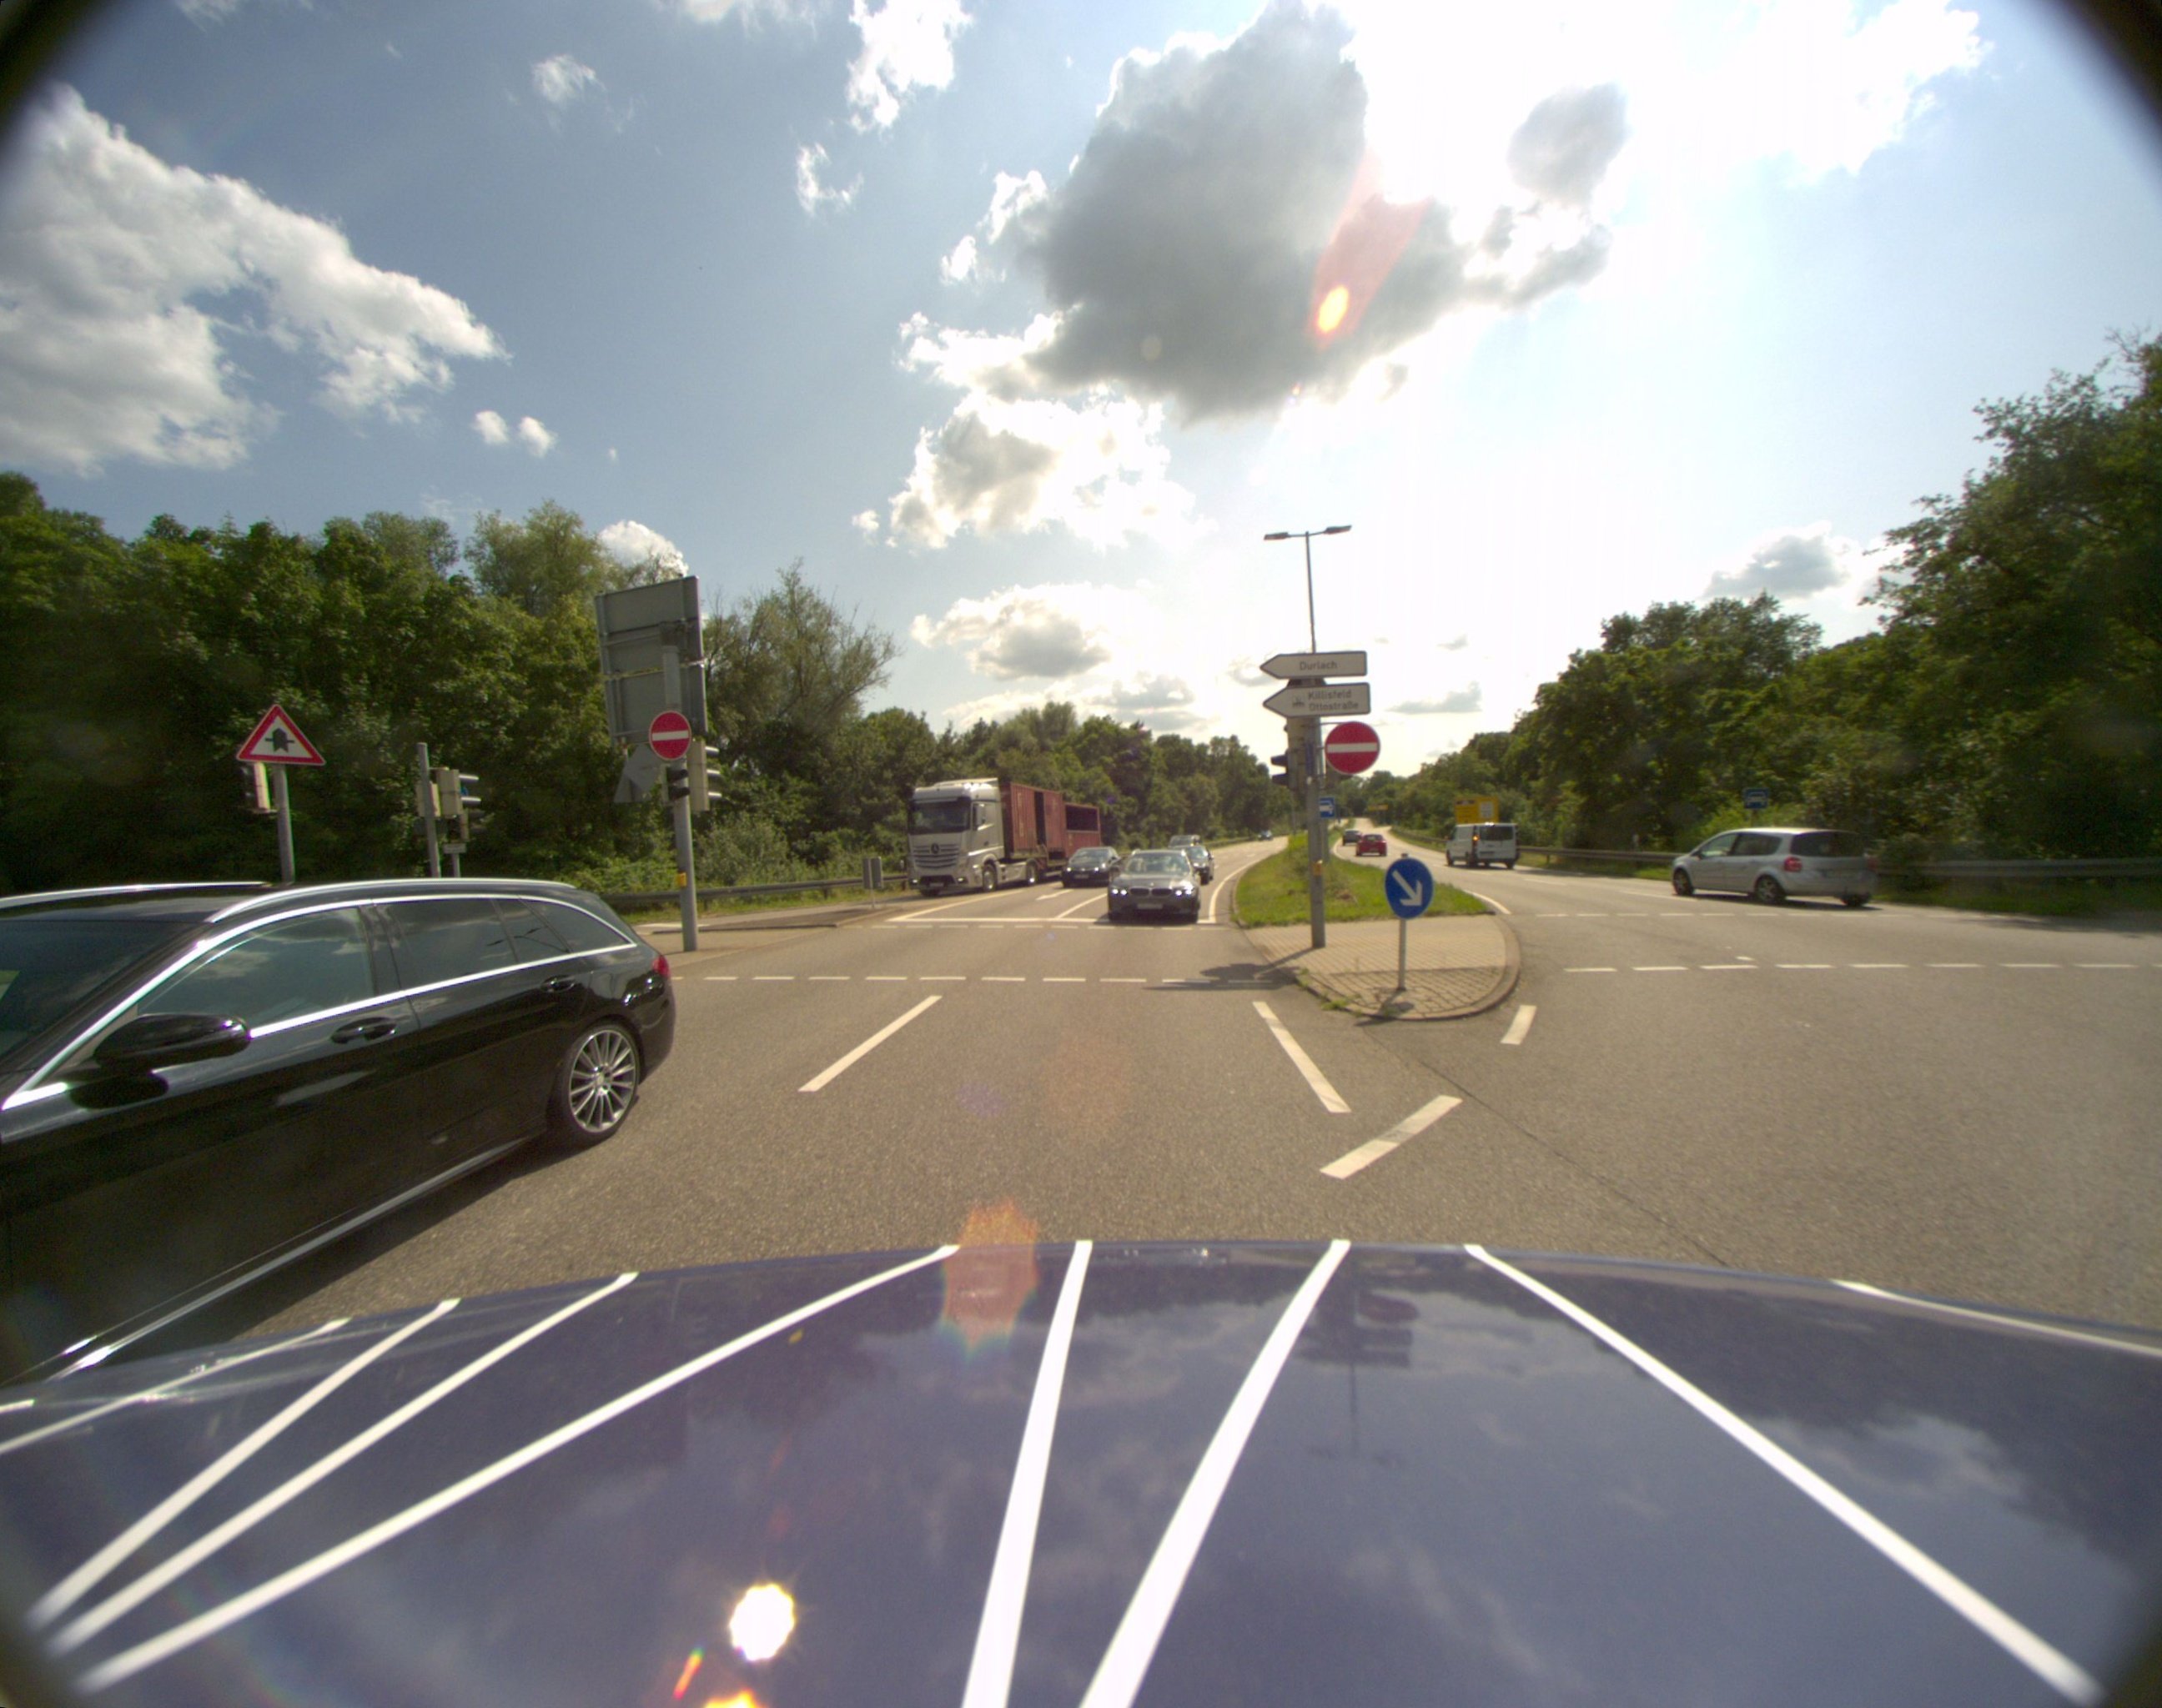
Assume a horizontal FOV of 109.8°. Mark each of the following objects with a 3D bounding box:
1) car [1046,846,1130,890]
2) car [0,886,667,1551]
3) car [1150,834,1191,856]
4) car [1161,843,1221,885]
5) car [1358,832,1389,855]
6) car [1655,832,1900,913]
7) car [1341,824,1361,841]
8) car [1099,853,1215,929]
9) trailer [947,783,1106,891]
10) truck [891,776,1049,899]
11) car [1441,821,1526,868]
[{"bbox_3d":[0.346,0.467,28.166,1.856,1.403,4.005,-2,1,20],"label":"car"},{"bbox_3d":[-3.504,0.981,2.442,1.795,1.427,4.369,-2,1,2],"label":"car"},{"bbox_3d":[6.136,-0.621,51.647,1.856,1.403,4.005,-2,1,20],"label":"car"},{"bbox_3d":[4.251,0.350,28.840,1.856,1.403,4.003,-2,1,13],"label":"car"},{"bbox_3d":[18.969,-0.722,49.430,1.583,1.424,4.004,0,1,17],"label":"car"},{"bbox_3d":[14.618,0.323,16.319,1.736,1.512,4.069,0,1,5],"label":"car"},{"bbox_3d":[26.480,-2.078,74.629,1.712,1.577,4.286,0,1,17],"label":"car"},{"bbox_3d":[1.784,0.699,16.594,1.856,1.355,4.004,0,1,15],"label":"car"},{"bbox_3d":[-1.861,-0.752,33.952,2.775,3.828,12.333,-2,1,16],"label":"trailer"},{"bbox_3d":[-3.751,-0.588,27.758,2.773,3.823,6.827,-3,1,18],"label":"truck"},{"bbox_3d":[18.199,-0.464,34.618,1.997,2.002,5.138,0,2,11],"label":"car"}]
